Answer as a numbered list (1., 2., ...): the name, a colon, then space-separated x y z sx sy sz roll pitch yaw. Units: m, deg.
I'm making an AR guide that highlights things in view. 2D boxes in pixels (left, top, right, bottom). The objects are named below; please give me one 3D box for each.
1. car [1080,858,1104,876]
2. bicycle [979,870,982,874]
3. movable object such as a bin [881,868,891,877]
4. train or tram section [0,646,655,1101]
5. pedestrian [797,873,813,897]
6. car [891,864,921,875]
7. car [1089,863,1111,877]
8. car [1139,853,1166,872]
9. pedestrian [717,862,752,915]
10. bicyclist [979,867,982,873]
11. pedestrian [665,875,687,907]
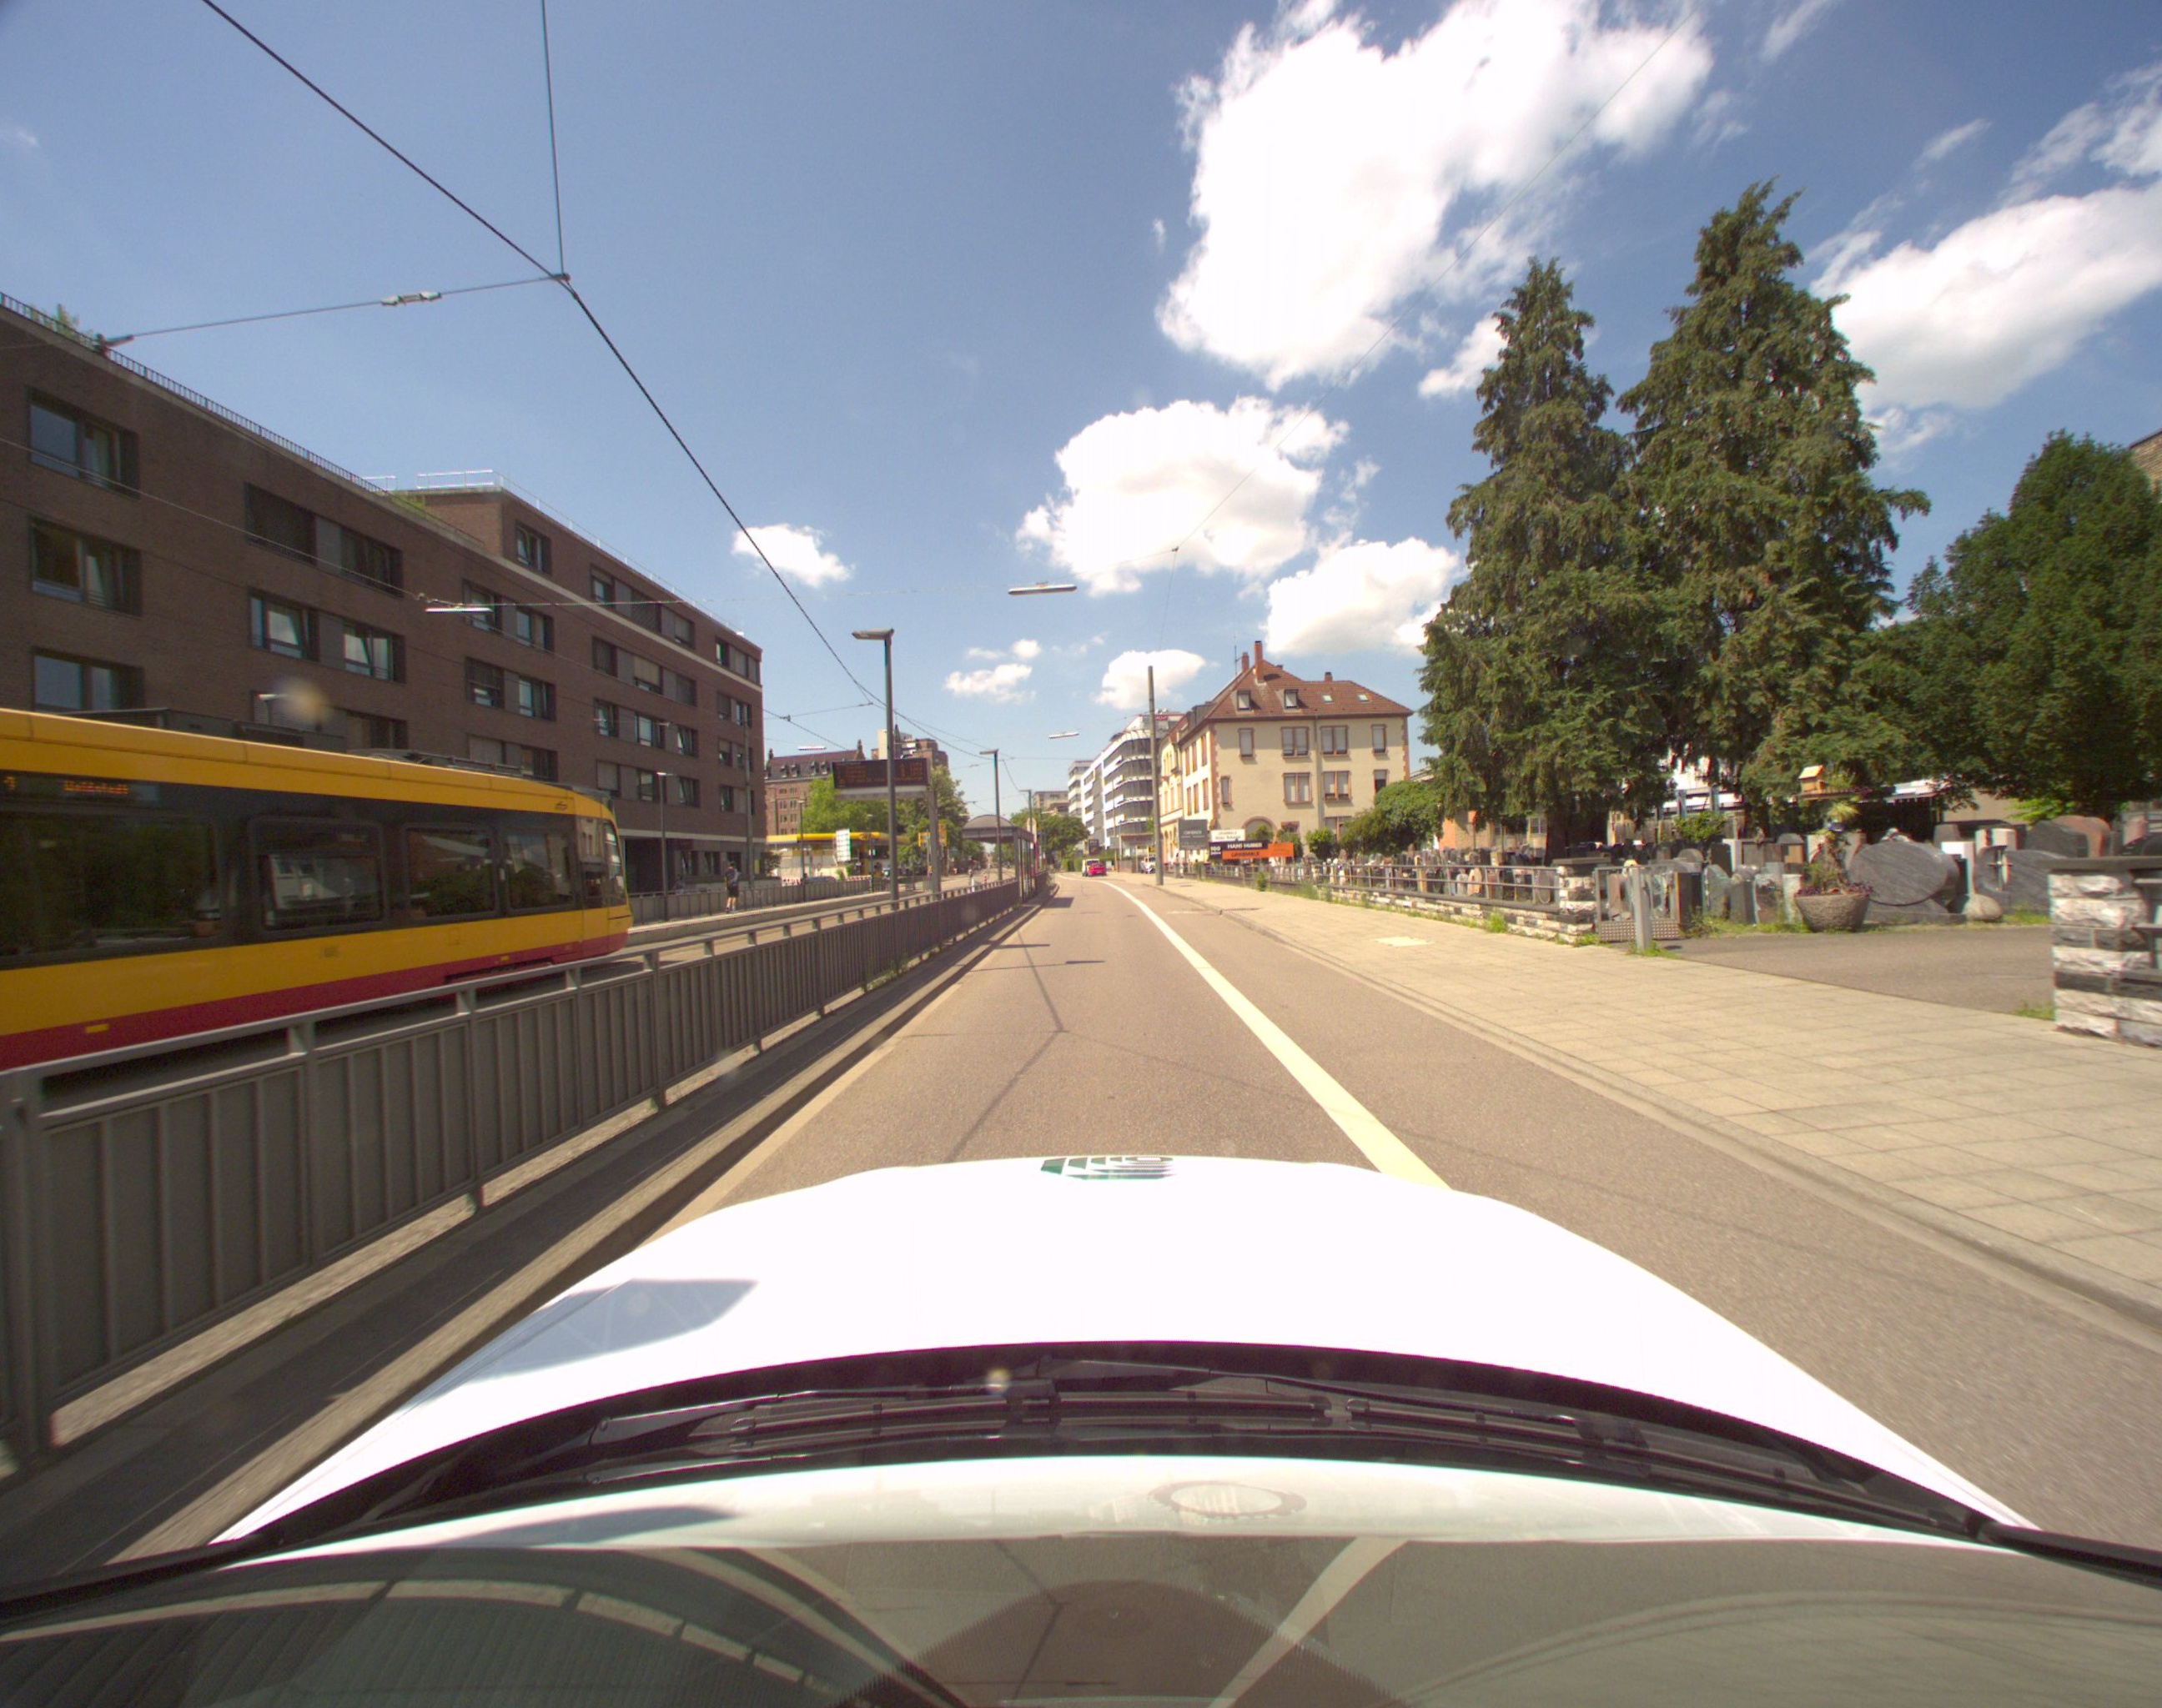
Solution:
1. car: 1.266 1.555 96.433 1.991 1.991 5.502 -4 0 -6
2. bicycle: -28.927 5.223 234.565 0.700 1.204 2.235 -4 -1 -7
3. movable object such as a bin: -31.015 2.938 129.299 1.338 1.354 0.759 -2 -1 5
4. train or tram section: -10.060 0.228 7.447 3.223 3.567 16.353 -3 -1 1
5. pedestrian: -19.034 2.126 56.130 0.758 1.596 0.998 1 -1 -4
6. car: -27.697 2.436 128.973 1.974 1.590 4.361 -3 -1 38
7. car: 2.021 1.765 89.862 1.990 1.442 4.010 -2 -1 -4
8. car: 6.951 0.856 79.909 1.874 1.624 4.633 -5 -1 -3
9. pedestrian: -12.012 1.185 28.230 0.683 1.760 1.033 -3 -1 0
10. bicyclist: -28.946 4.645 234.405 0.641 1.679 0.813 -2 -1 -7
11. pedestrian: -21.022 1.893 42.285 0.683 1.596 0.761 -3 -1 0
